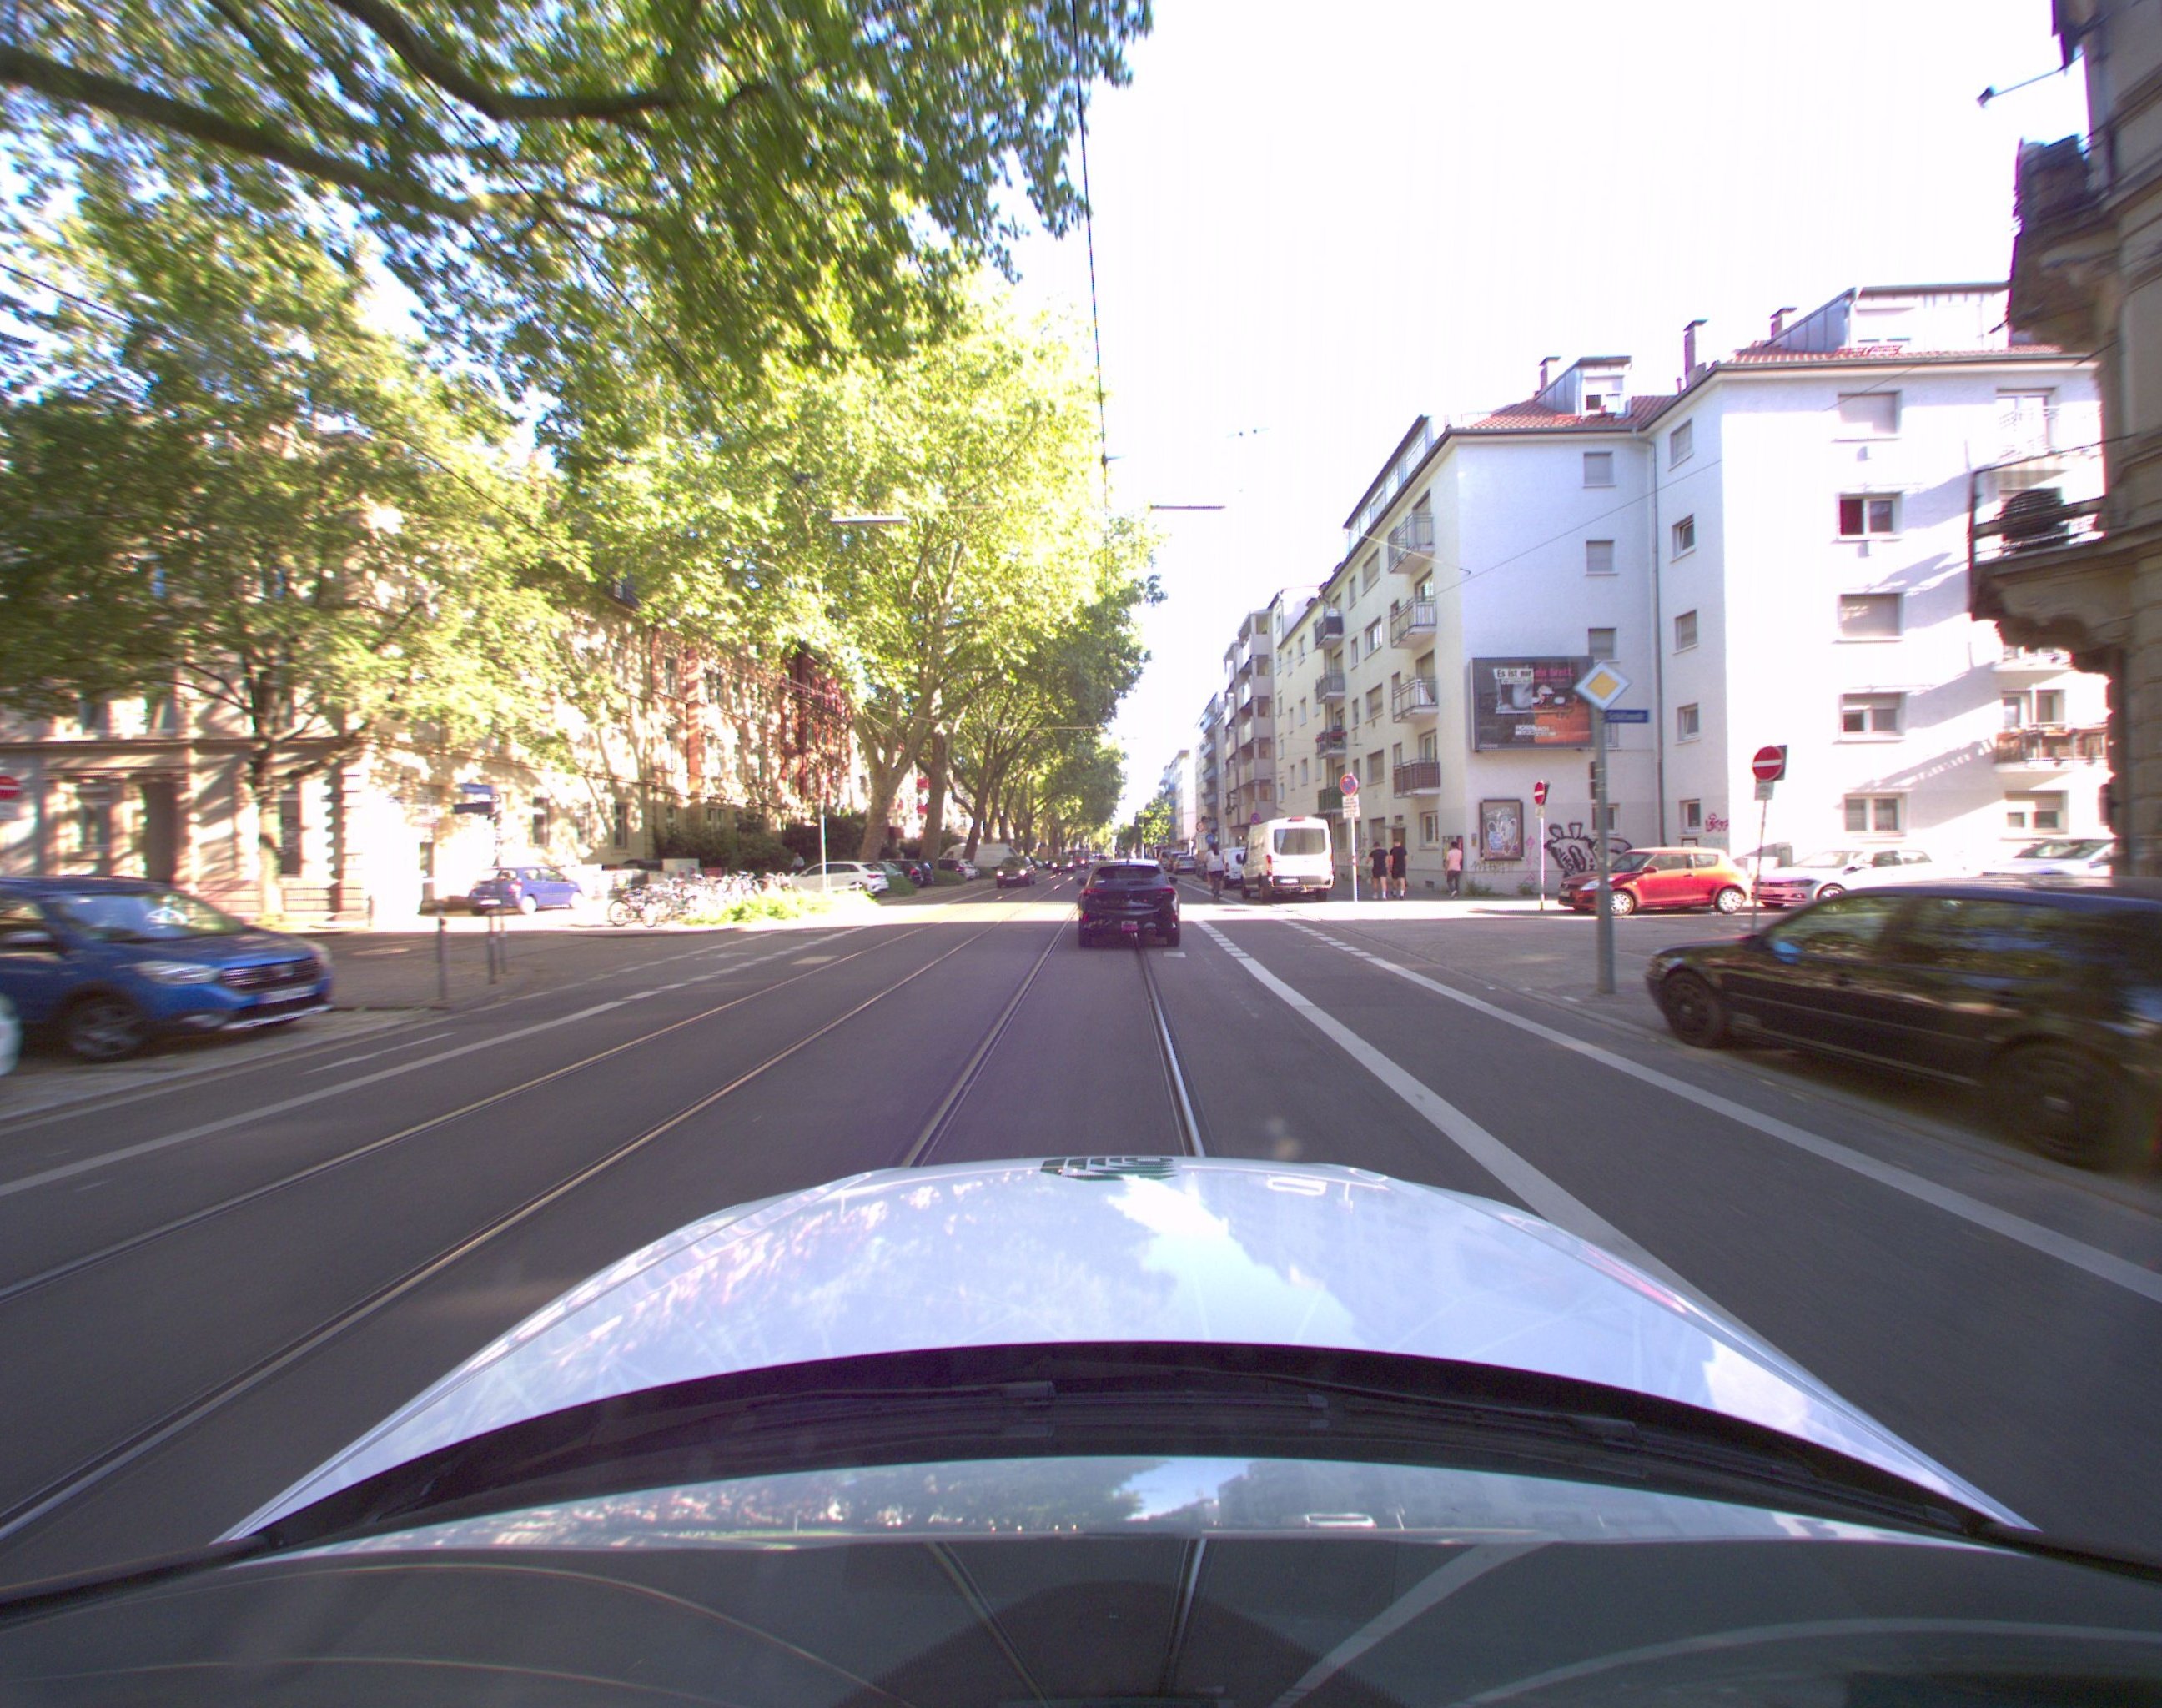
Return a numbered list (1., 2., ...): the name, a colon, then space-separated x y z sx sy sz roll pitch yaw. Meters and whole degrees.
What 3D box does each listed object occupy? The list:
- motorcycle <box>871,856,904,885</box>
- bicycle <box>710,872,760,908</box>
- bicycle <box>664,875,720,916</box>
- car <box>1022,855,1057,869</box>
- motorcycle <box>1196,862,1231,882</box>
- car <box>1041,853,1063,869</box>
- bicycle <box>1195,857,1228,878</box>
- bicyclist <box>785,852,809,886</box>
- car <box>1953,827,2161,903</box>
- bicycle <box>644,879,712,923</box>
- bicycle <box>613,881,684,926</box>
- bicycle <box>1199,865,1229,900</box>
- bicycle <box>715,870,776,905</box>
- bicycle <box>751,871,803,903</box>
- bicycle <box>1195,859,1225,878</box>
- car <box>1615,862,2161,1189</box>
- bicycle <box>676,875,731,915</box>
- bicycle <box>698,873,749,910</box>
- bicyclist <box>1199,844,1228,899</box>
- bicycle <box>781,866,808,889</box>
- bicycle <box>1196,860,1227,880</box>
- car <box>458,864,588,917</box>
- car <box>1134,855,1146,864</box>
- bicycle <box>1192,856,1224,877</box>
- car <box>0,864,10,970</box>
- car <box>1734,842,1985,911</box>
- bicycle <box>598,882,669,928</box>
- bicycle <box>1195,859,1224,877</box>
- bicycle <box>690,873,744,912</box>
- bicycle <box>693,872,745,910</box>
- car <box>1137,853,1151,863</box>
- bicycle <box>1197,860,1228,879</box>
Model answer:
1. motorcycle: -11.315 0.952 47.745 1.048 1.631 3.013 1 -1 2
2. bicycle: -10.722 1.118 25.214 1.545 1.088 0.398 -1 0 20
3. bicycle: -10.706 1.148 22.403 1.545 1.088 0.398 -1 0 20
4. car: -4.813 0.911 95.369 3.973 1.522 1.771 -1 0 0
5. motorcycle: 7.317 0.998 45.005 1.802 1.080 0.621 -2 -1 25
6. car: -3.168 0.761 90.192 1.986 1.700 4.487 -3 0 2
7. bicycle: 7.626 0.797 47.741 1.787 1.148 0.705 -3 0 1
8. bicyclist: -14.993 0.760 42.973 0.827 1.763 1.049 -1 0 2
9. car: 23.109 0.236 18.648 4.229 1.636 1.791 -1 0 3
10. bicycle: -10.485 1.216 21.186 1.841 1.088 0.398 -1 0 20
11. bicycle: -10.810 1.236 20.344 1.841 1.088 0.398 -1 0 20
12. bicycle: 4.365 0.911 26.796 0.698 1.092 1.991 1 -1 2
13. bicycle: -10.921 1.087 26.515 1.902 1.088 0.600 -1 0 20
14. bicycle: -10.320 1.122 27.643 1.784 1.043 0.601 -1 0 29
15. bicycle: 7.667 0.848 48.406 1.646 1.020 0.457 -3 0 1
16. car: 5.766 0.810 5.443 1.644 1.420 4.058 -3 0 -1
17. bicycle: -10.588 1.151 22.853 1.545 1.088 0.398 -1 0 20
18. bicycle: -10.858 1.142 24.734 1.545 1.088 0.398 -1 0 20
19. bicyclist: 4.319 0.555 26.626 0.783 1.759 0.915 -1 -1 1
20. bicycle: -15.037 1.240 42.778 0.739 1.138 1.781 -1 0 2
21. bicycle: 7.351 0.903 45.953 1.646 1.055 0.457 -3 0 1
22. car: -17.063 1.071 25.089 1.594 1.460 3.488 -1 0 -1
23. car: 9.520 0.876 132.446 1.712 1.490 3.682 -1 0 1
24. bicycle: 7.689 0.748 49.414 1.816 1.191 0.457 -3 0 1
25. car: -21.535 1.124 13.743 4.546 1.881 2.133 -1 -3 8
26. car: 17.844 0.496 18.835 4.008 1.455 1.791 -1 0 3
27. bicycle: -10.955 1.243 19.928 1.841 1.088 0.398 -1 0 20
28. bicycle: 7.696 0.854 48.935 1.646 0.966 0.457 -3 0 1
29. bicycle: -10.410 1.092 23.268 1.545 1.088 0.398 -1 0 20
30. bicycle: -10.607 1.092 23.855 1.545 1.088 0.398 -1 0 20
31. car: 9.759 0.636 126.770 1.713 1.574 4.082 -1 0 -2
32. bicycle: 7.588 0.884 47.012 1.646 0.987 0.457 -3 0 1
